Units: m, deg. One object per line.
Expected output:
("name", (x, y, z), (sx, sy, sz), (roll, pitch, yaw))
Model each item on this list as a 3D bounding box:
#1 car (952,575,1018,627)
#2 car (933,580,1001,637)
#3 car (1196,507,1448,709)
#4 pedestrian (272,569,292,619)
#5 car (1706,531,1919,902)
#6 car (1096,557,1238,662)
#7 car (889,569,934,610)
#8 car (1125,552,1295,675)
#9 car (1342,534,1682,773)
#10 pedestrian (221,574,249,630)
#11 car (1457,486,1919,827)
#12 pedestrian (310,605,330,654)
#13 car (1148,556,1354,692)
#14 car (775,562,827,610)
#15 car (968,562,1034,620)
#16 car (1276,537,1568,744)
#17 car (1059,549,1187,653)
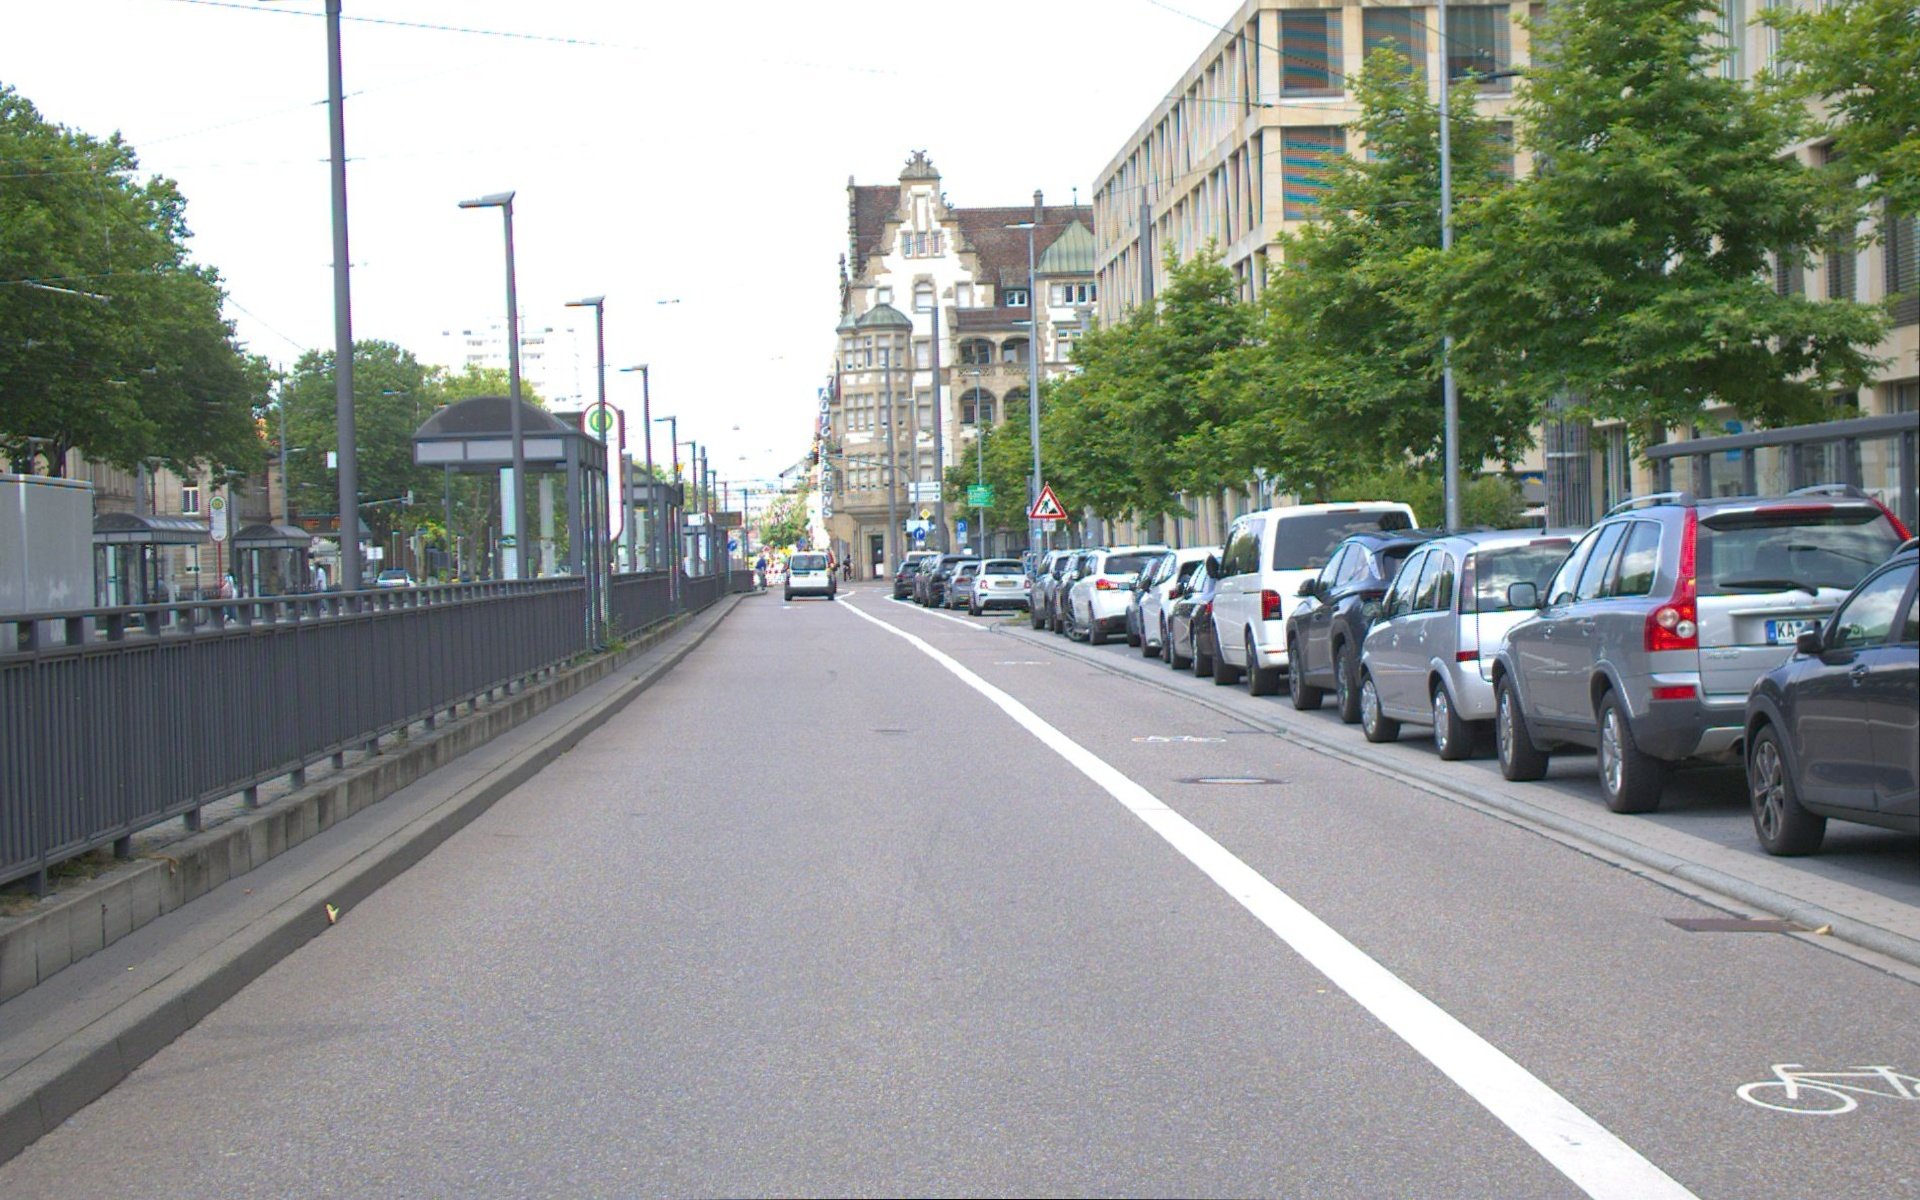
("car", (0.710, 0.014, 101.896), (1.591, 1.429, 4.108), (0, 1, -5))
("car", (0.195, 0.256, 107.663), (1.738, 1.664, 4.842), (0, 1, -5))
("car", (3.805, 0.035, 36.971), (1.881, 1.932, 4.844), (-3, 1, -3))
("pedestrian", (-21.579, -0.185, 109.382), (0.500, 1.553, 0.643), (-2, 1, -3))
("car", (4.704, 0.446, 15.231), (1.691, 1.499, 4.068), (-2, 1, -3))
("car", (3.145, 0.119, 52.948), (1.685, 1.452, 3.951), (-3, 1, -3))
("car", (-1.828, -0.408, 128.627), (1.443, 1.465, 4.093), (0, 1, -5))
("car", (3.429, 0.151, 47.877), (1.792, 1.524, 4.159), (-3, 1, -3))
("car", (4.068, 0.339, 25.893), (1.721, 1.614, 3.860), (-2, 1, -3))
("pedestrian", (-20.309, 0.055, 96.312), (0.701, 1.507, 0.803), (-3, 1, -11))
("car", (4.356, 0.253, 20.654), (1.769, 1.761, 4.840), (-2, 1, -3))
("pedestrian", (-22.325, 1.029, 119.911), (0.500, 1.677, 0.643), (-4, 2, -2))
("car", (3.540, 0.249, 42.594), (1.881, 1.482, 4.564), (-3, 1, -3))
("car", (-5.904, -0.532, 127.706), (1.868, 1.740, 4.001), (0, 1, -3))
("car", (1.070, -0.263, 90.631), (1.591, 1.455, 3.613), (0, 1, -2))
("car", (4.049, 0.295, 30.853), (1.721, 1.635, 4.528), (-3, 1, -3))
("car", (2.717, -0.016, 58.035), (1.685, 1.600, 4.152), (-3, 1, -3))
